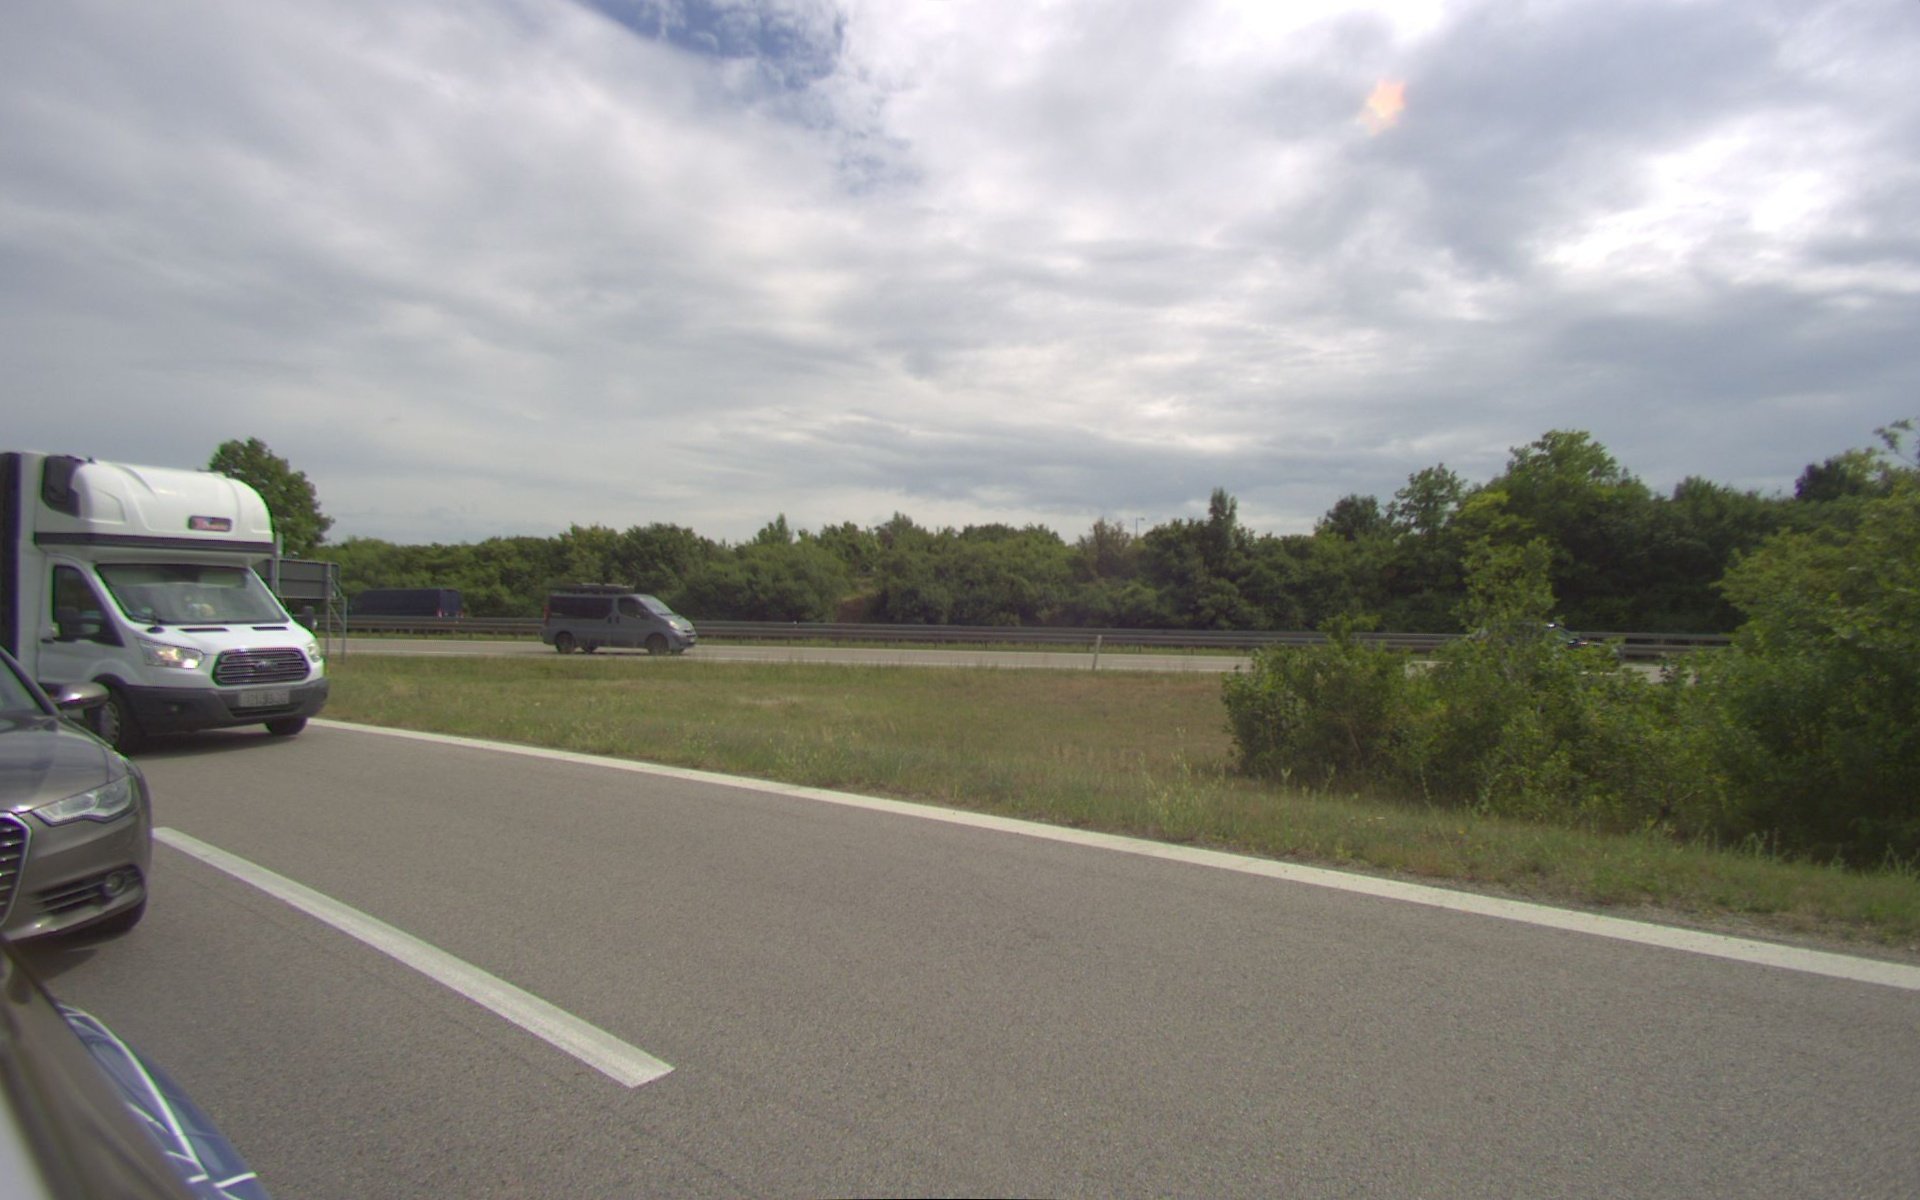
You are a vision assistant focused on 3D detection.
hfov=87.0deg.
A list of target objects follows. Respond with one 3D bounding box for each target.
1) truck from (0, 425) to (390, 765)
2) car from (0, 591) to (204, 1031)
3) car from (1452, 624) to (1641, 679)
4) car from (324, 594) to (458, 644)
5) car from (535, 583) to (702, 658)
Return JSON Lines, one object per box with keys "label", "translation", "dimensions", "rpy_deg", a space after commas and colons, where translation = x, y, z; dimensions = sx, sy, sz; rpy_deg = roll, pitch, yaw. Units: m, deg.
{"label": "truck", "translation": [-10.609, -0.007, 12.048], "dimensions": [7.414, 3.191, 2.551], "rpy_deg": [-1, 0, 21]}
{"label": "car", "translation": [-5.320, 0.759, 4.657], "dimensions": [4.535, 1.526, 1.973], "rpy_deg": [-1, -1, 40]}
{"label": "car", "translation": [17.351, 1.502, 30.164], "dimensions": [4.405, 1.434, 1.996], "rpy_deg": [1, 0, 7]}
{"label": "car", "translation": [-29.340, 0.961, 52.263], "dimensions": [5.896, 2.453, 2.138], "rpy_deg": [-1, 0, 7]}
{"label": "car", "translation": [-11.085, 0.646, 33.022], "dimensions": [4.750, 2.276, 1.996], "rpy_deg": [1, 0, 6]}
